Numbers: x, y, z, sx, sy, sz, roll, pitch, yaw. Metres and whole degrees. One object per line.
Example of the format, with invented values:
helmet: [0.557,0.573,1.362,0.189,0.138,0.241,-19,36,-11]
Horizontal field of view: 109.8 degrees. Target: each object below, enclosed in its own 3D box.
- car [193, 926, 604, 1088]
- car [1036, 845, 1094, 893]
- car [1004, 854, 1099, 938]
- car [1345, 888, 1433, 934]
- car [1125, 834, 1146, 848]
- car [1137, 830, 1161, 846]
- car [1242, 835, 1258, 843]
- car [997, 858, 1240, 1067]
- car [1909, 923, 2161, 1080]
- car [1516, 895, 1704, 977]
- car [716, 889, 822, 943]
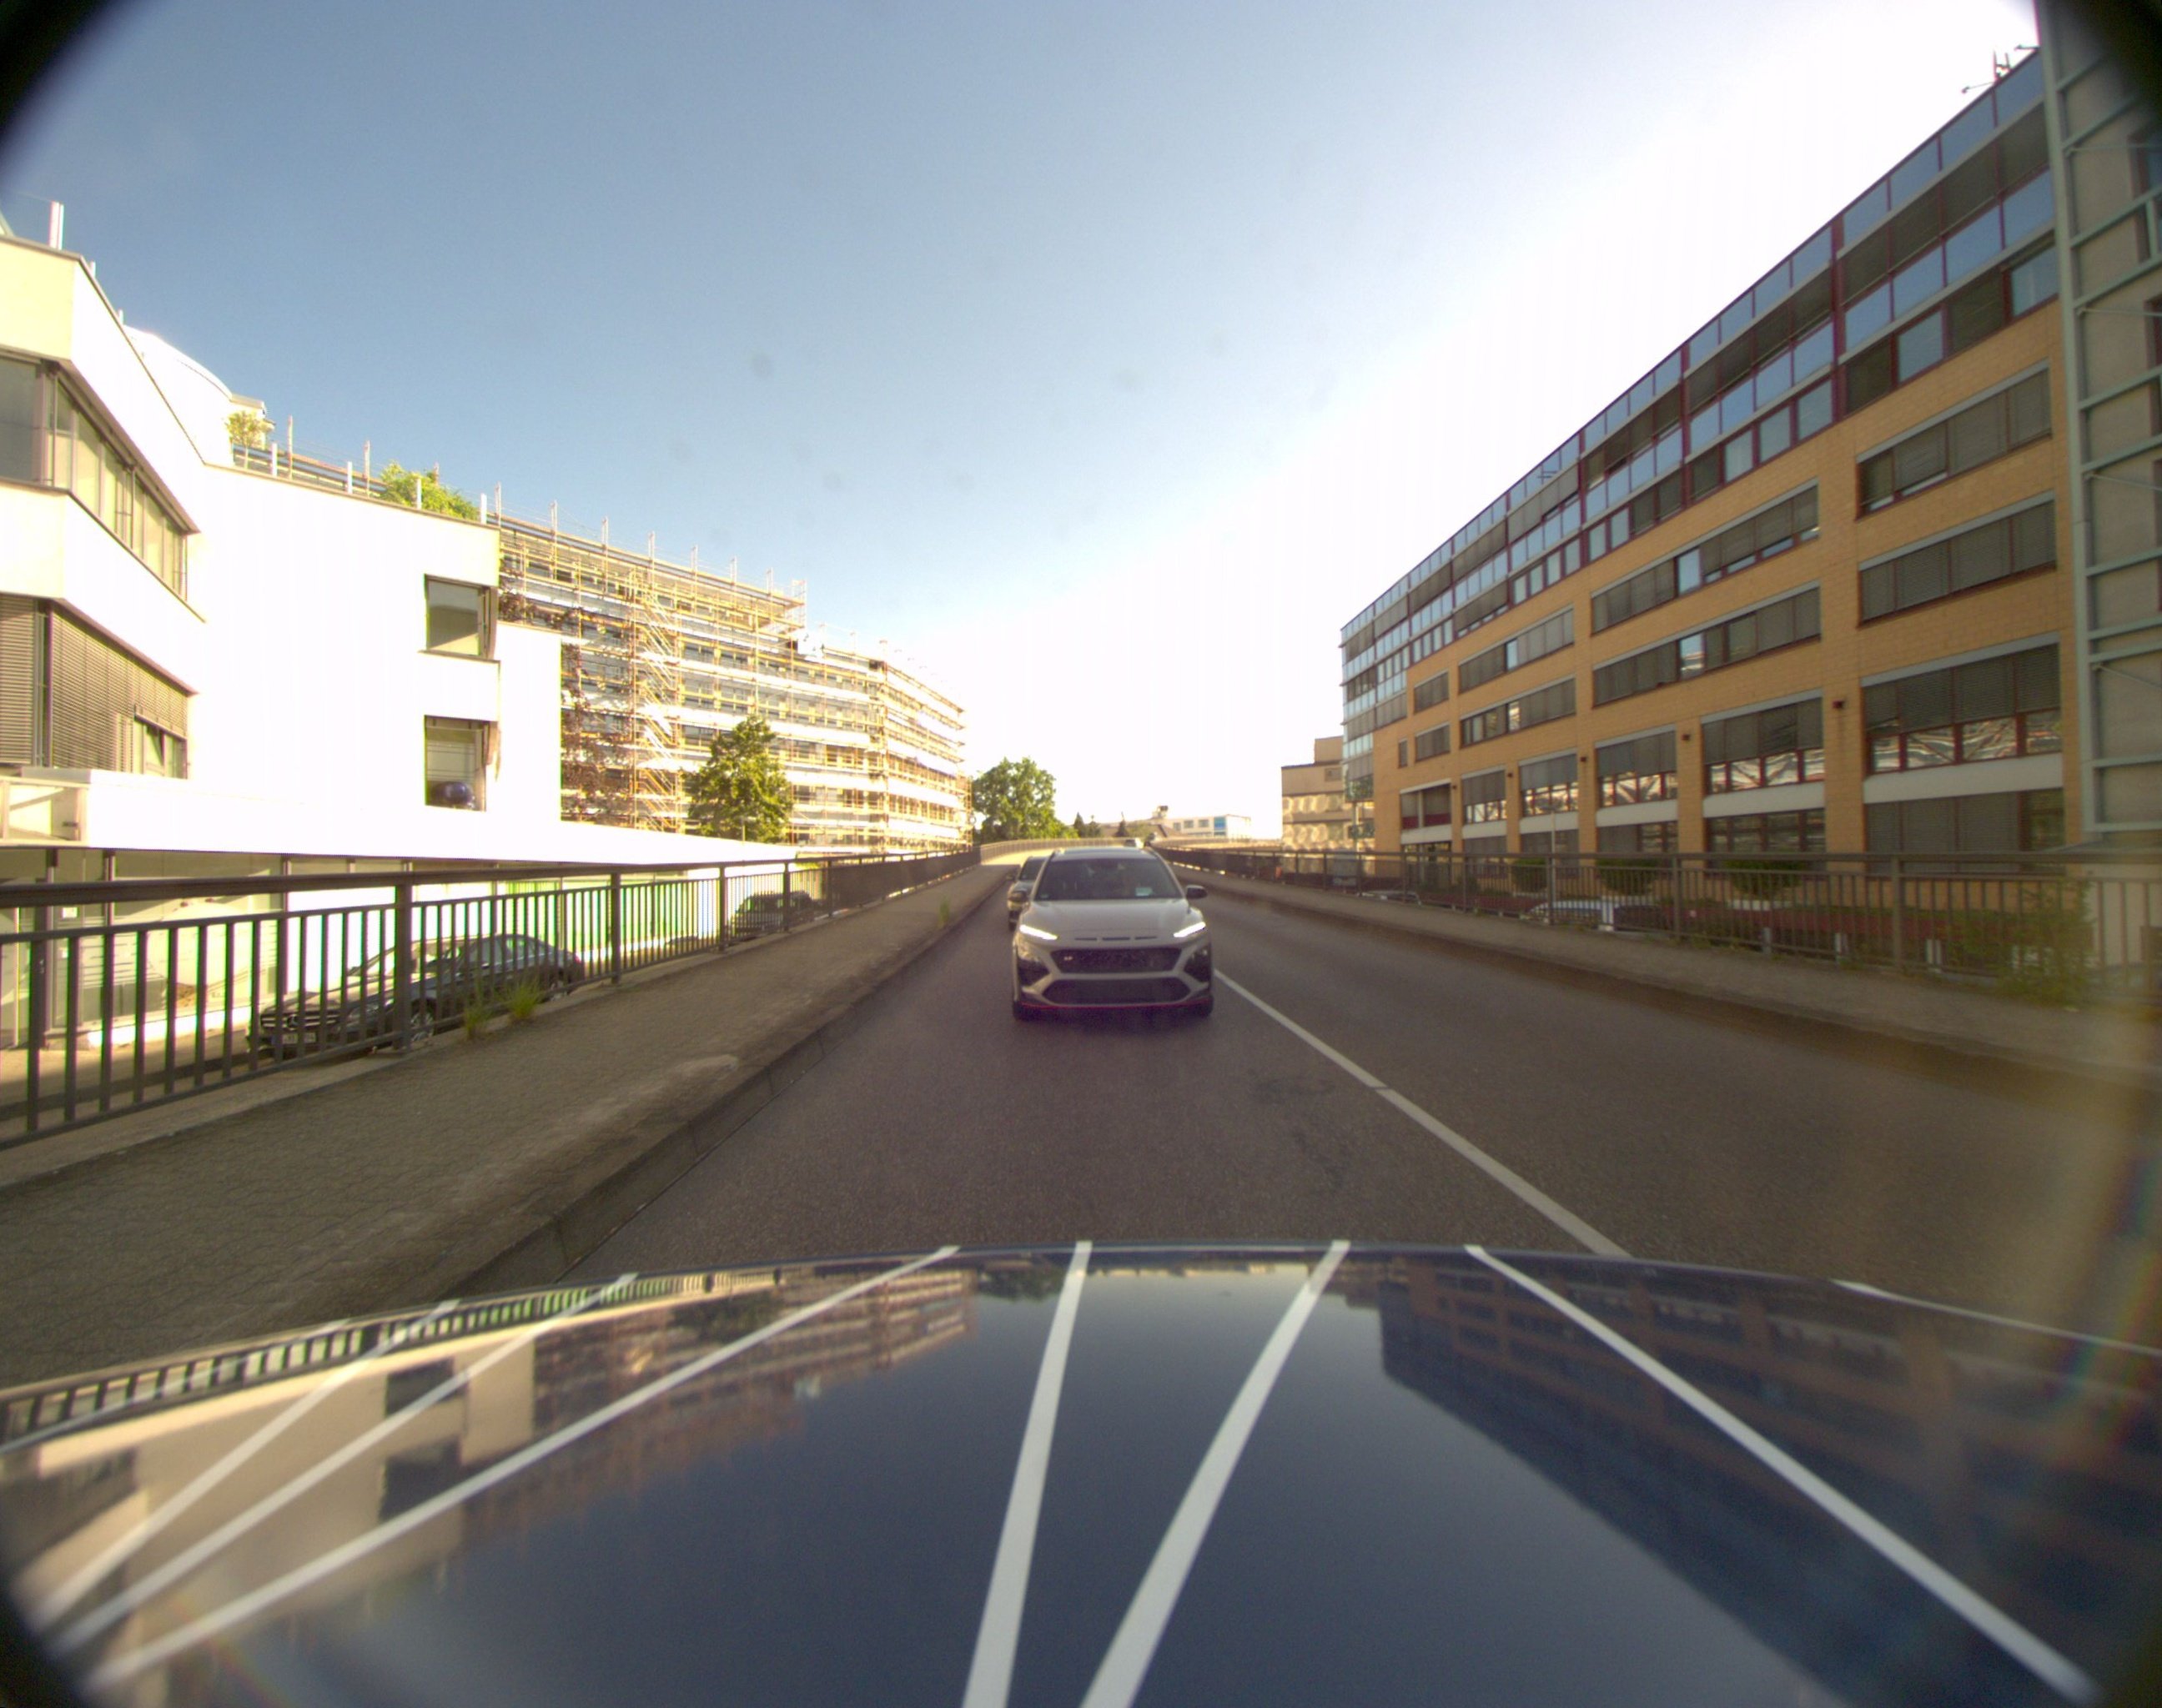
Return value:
car: [-9.702,2.066,11.496,1.849,1.422,4.682,-2,1,2]
car: [-0.566,0.465,26.833,1.849,1.526,4.507,-2,1,-1]
car: [-0.553,0.776,16.119,1.721,1.483,4.168,-2,1,0]
car: [12.549,2.288,31.249,1.998,1.652,4.001,0,-1,1]
car: [6.623,-1.485,91.219,1.823,1.594,4.004,-1,0,14]
car: [10.204,-2.418,113.856,1.906,2.202,4.606,2,2,27]
car: [31.002,-2.782,139.509,1.696,1.326,4.007,-1,0,30]
car: [0.238,0.849,7.991,1.849,1.560,4.220,-1,0,-2]
car: [13.253,1.788,9.099,1.825,1.594,4.356,0,-1,-2]
car: [13.170,1.980,19.272,1.998,1.714,4.001,0,-1,1]
car: [-10.323,2.016,25.466,1.849,1.526,4.001,0,-1,1]
